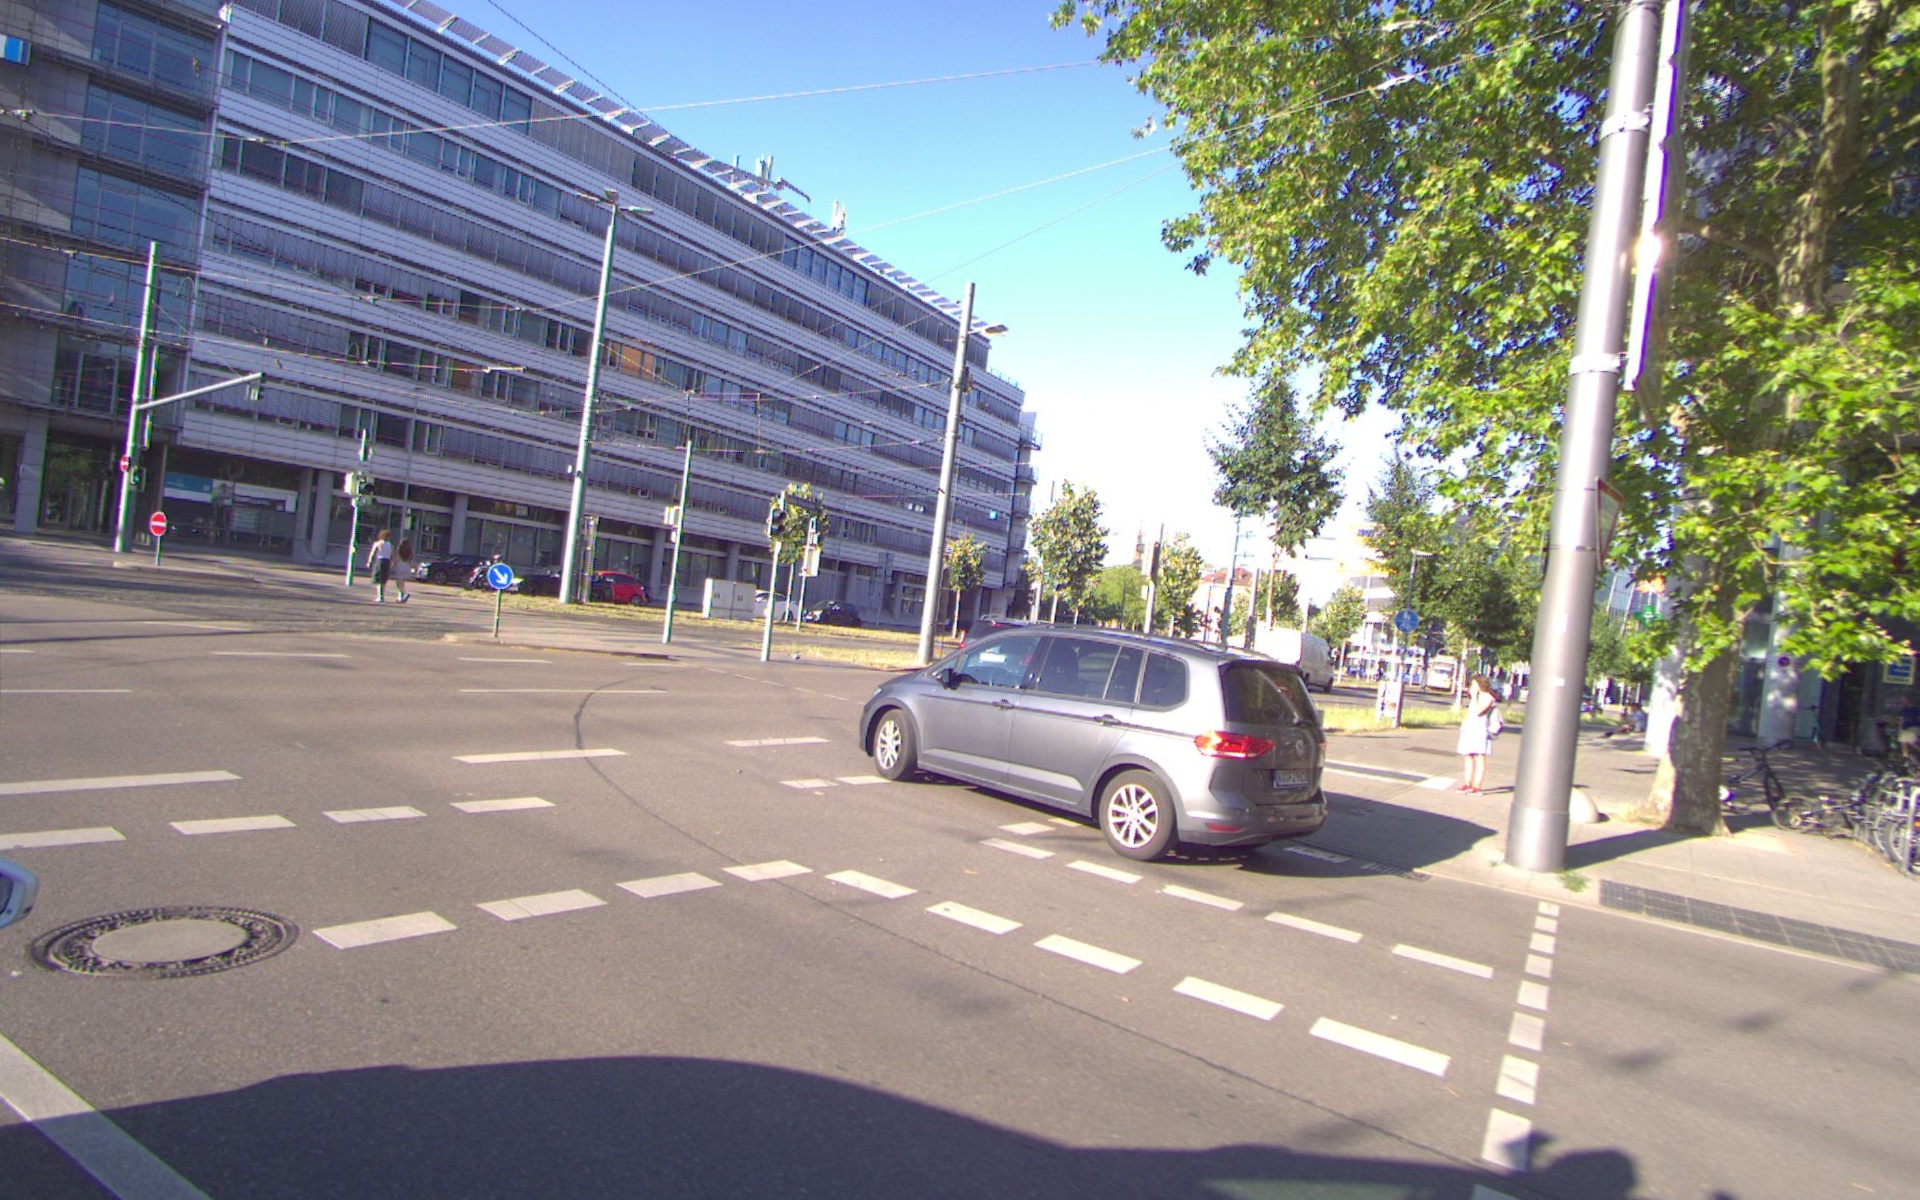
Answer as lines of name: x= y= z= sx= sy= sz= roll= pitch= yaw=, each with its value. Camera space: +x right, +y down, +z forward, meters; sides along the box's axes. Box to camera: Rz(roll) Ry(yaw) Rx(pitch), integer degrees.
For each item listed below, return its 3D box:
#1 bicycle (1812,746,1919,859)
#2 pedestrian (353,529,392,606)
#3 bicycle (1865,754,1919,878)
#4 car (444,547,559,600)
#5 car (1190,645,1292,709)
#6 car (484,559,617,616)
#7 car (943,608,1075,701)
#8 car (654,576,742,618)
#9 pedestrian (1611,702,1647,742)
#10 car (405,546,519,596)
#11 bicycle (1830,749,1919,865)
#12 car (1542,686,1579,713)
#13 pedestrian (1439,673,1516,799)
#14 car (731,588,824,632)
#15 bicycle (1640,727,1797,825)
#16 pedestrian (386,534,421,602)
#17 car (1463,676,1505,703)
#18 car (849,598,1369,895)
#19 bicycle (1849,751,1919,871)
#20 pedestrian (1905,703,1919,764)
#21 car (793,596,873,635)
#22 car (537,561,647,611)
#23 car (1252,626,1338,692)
bicycle: x=11.556 y=2.500 z=12.085 sx=1.813 sy=1.143 sz=0.773 roll=7 pitch=0 yaw=33
pedestrian: x=-15.135 y=-0.845 z=25.918 sx=0.691 sy=1.865 sz=0.959 roll=6 pitch=1 yaw=-31
bicycle: x=10.234 y=2.257 z=9.858 sx=1.813 sy=1.143 sz=0.773 roll=7 pitch=0 yaw=33
car: x=-19.193 y=-1.096 z=42.244 sx=1.878 sy=1.640 sz=3.849 roll=6 pitch=-2 yaw=42
car: x=8.788 y=2.415 z=31.181 sx=1.834 sy=1.651 sz=4.256 roll=7 pitch=-1 yaw=31
car: x=-16.453 y=-0.489 z=40.591 sx=1.878 sy=1.640 sz=4.504 roll=6 pitch=-2 yaw=42
car: x=1.204 y=1.213 z=22.458 sx=1.830 sy=1.651 sz=4.266 roll=7 pitch=-1 yaw=16
car: x=-13.075 y=-0.146 z=50.357 sx=1.605 sy=1.615 sz=3.984 roll=6 pitch=-1 yaw=39
pedestrian: x=21.047 y=3.831 z=31.659 sx=0.763 sy=1.094 sz=0.681 roll=7 pitch=0 yaw=25
car: x=-22.534 y=-1.292 z=45.629 sx=1.878 sy=1.640 sz=4.153 roll=6 pitch=-2 yaw=42
bicycle: x=11.128 y=2.420 z=11.325 sx=1.813 sy=1.143 sz=0.773 roll=7 pitch=0 yaw=33
car: x=51.747 y=8.559 z=86.635 sx=3.863 sy=2.038 sz=1.592 roll=7 pitch=0 yaw=-44
pedestrian: x=6.877 y=1.800 z=13.382 sx=0.478 sy=1.557 sz=0.569 roll=6 pitch=0 yaw=-22
car: x=-9.103 y=0.524 z=50.346 sx=1.878 sy=1.640 sz=4.153 roll=6 pitch=-2 yaw=42
bicycle: x=10.810 y=2.489 z=14.395 sx=1.673 sy=1.049 sz=0.547 roll=7 pitch=0 yaw=37
pedestrian: x=-14.612 y=-0.844 z=26.397 sx=0.641 sy=1.709 sz=0.839 roll=6 pitch=1 yaw=-31
car: x=39.038 y=6.696 z=74.931 sx=1.650 sy=1.660 sz=3.980 roll=7 pitch=-1 yaw=43
car: x=1.045 y=1.041 z=8.622 sx=1.610 sy=1.622 sz=4.122 roll=8 pitch=-1 yaw=-45
bicycle: x=10.717 y=2.343 z=10.599 sx=1.813 sy=1.143 sz=0.773 roll=7 pitch=0 yaw=33
pedestrian: x=26.216 y=3.660 z=27.388 sx=0.450 sy=1.620 sz=0.351 roll=7 pitch=1 yaw=18
car: x=-7.171 y=0.918 z=57.183 sx=1.878 sy=1.640 sz=4.153 roll=6 pitch=-2 yaw=42
car: x=-16.525 y=-0.622 z=45.333 sx=1.878 sy=1.640 sz=4.153 roll=6 pitch=-2 yaw=42
car: x=15.634 y=2.799 z=46.694 sx=1.969 sy=2.509 sz=5.960 roll=7 pitch=-2 yaw=35
